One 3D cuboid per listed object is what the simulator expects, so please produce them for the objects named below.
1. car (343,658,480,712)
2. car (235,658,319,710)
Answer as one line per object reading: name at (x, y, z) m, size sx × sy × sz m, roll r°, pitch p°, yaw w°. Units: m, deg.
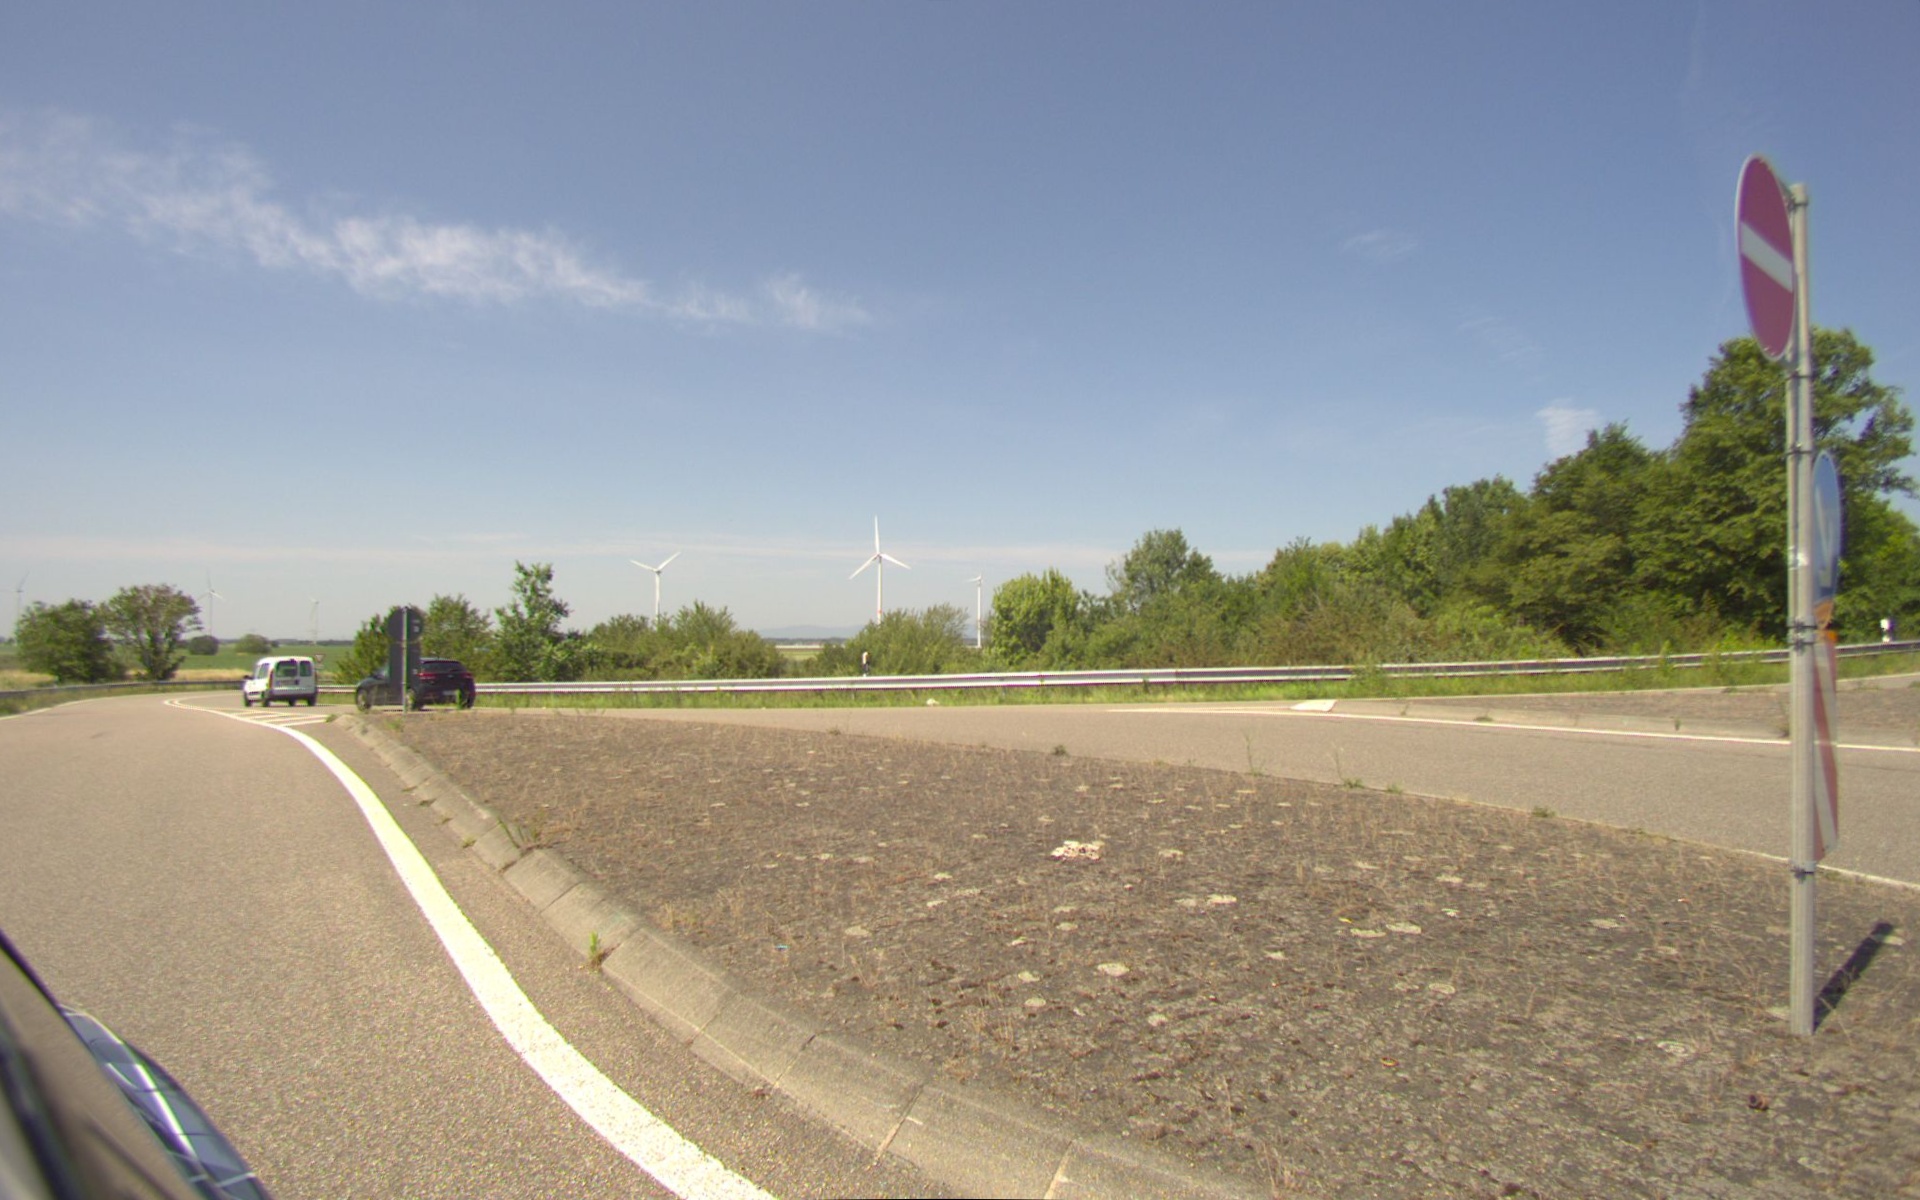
car at (-15.343, 2.392, 28.284) m, size 3.874 × 1.406 × 1.695 m, roll -4°, pitch -6°, yaw 32°
car at (-25.080, 3.082, 37.118) m, size 4.084 × 1.775 × 1.717 m, roll -6°, pitch -6°, yaw 44°
